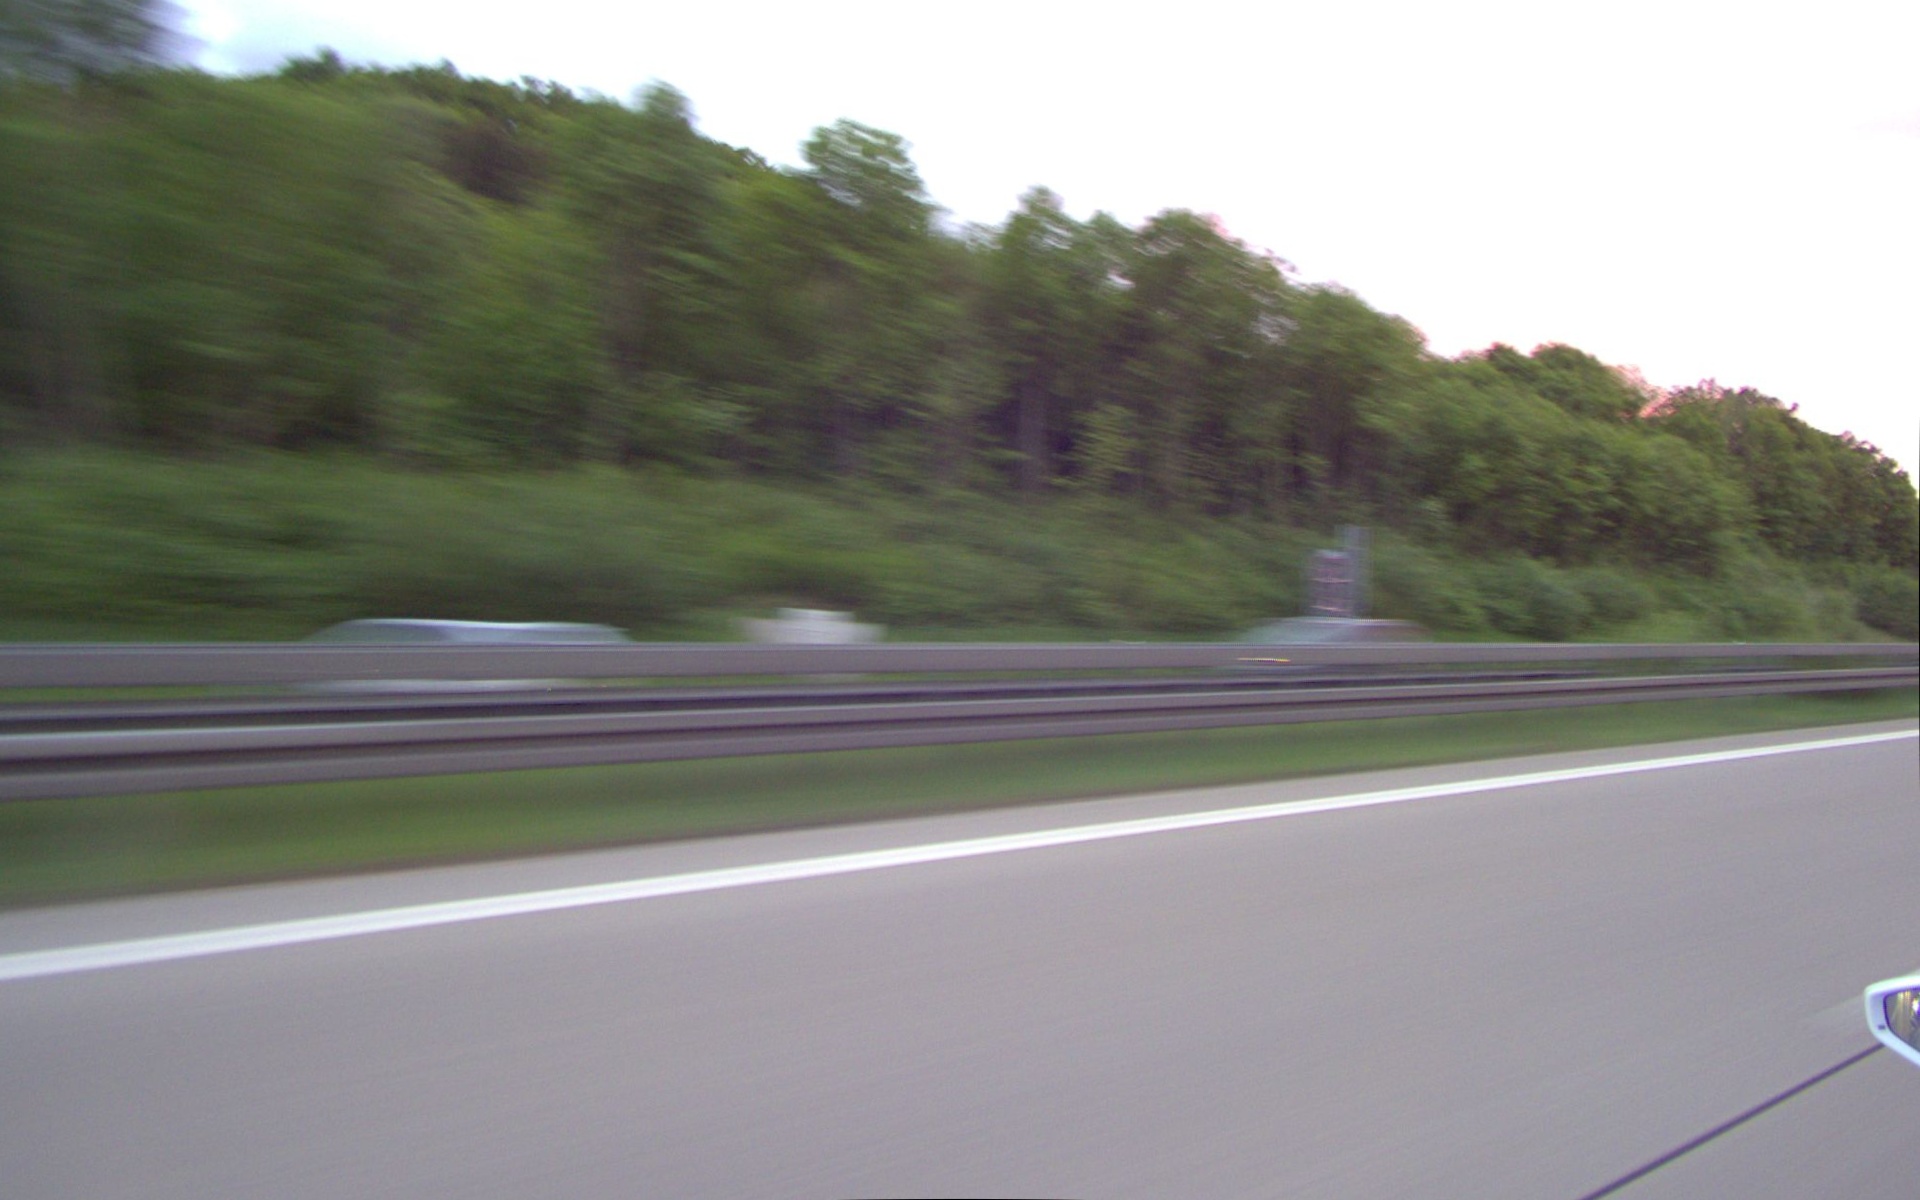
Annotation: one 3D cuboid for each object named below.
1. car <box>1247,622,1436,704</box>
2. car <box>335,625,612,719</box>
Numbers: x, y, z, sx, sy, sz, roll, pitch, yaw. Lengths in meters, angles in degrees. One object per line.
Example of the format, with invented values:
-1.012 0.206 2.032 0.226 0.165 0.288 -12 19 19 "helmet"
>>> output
8.909 1.420 23.358 4.407 1.716 1.753 2 -1 -31 "car"
-8.767 1.247 18.295 4.340 1.501 1.753 2 -1 -31 "car"
